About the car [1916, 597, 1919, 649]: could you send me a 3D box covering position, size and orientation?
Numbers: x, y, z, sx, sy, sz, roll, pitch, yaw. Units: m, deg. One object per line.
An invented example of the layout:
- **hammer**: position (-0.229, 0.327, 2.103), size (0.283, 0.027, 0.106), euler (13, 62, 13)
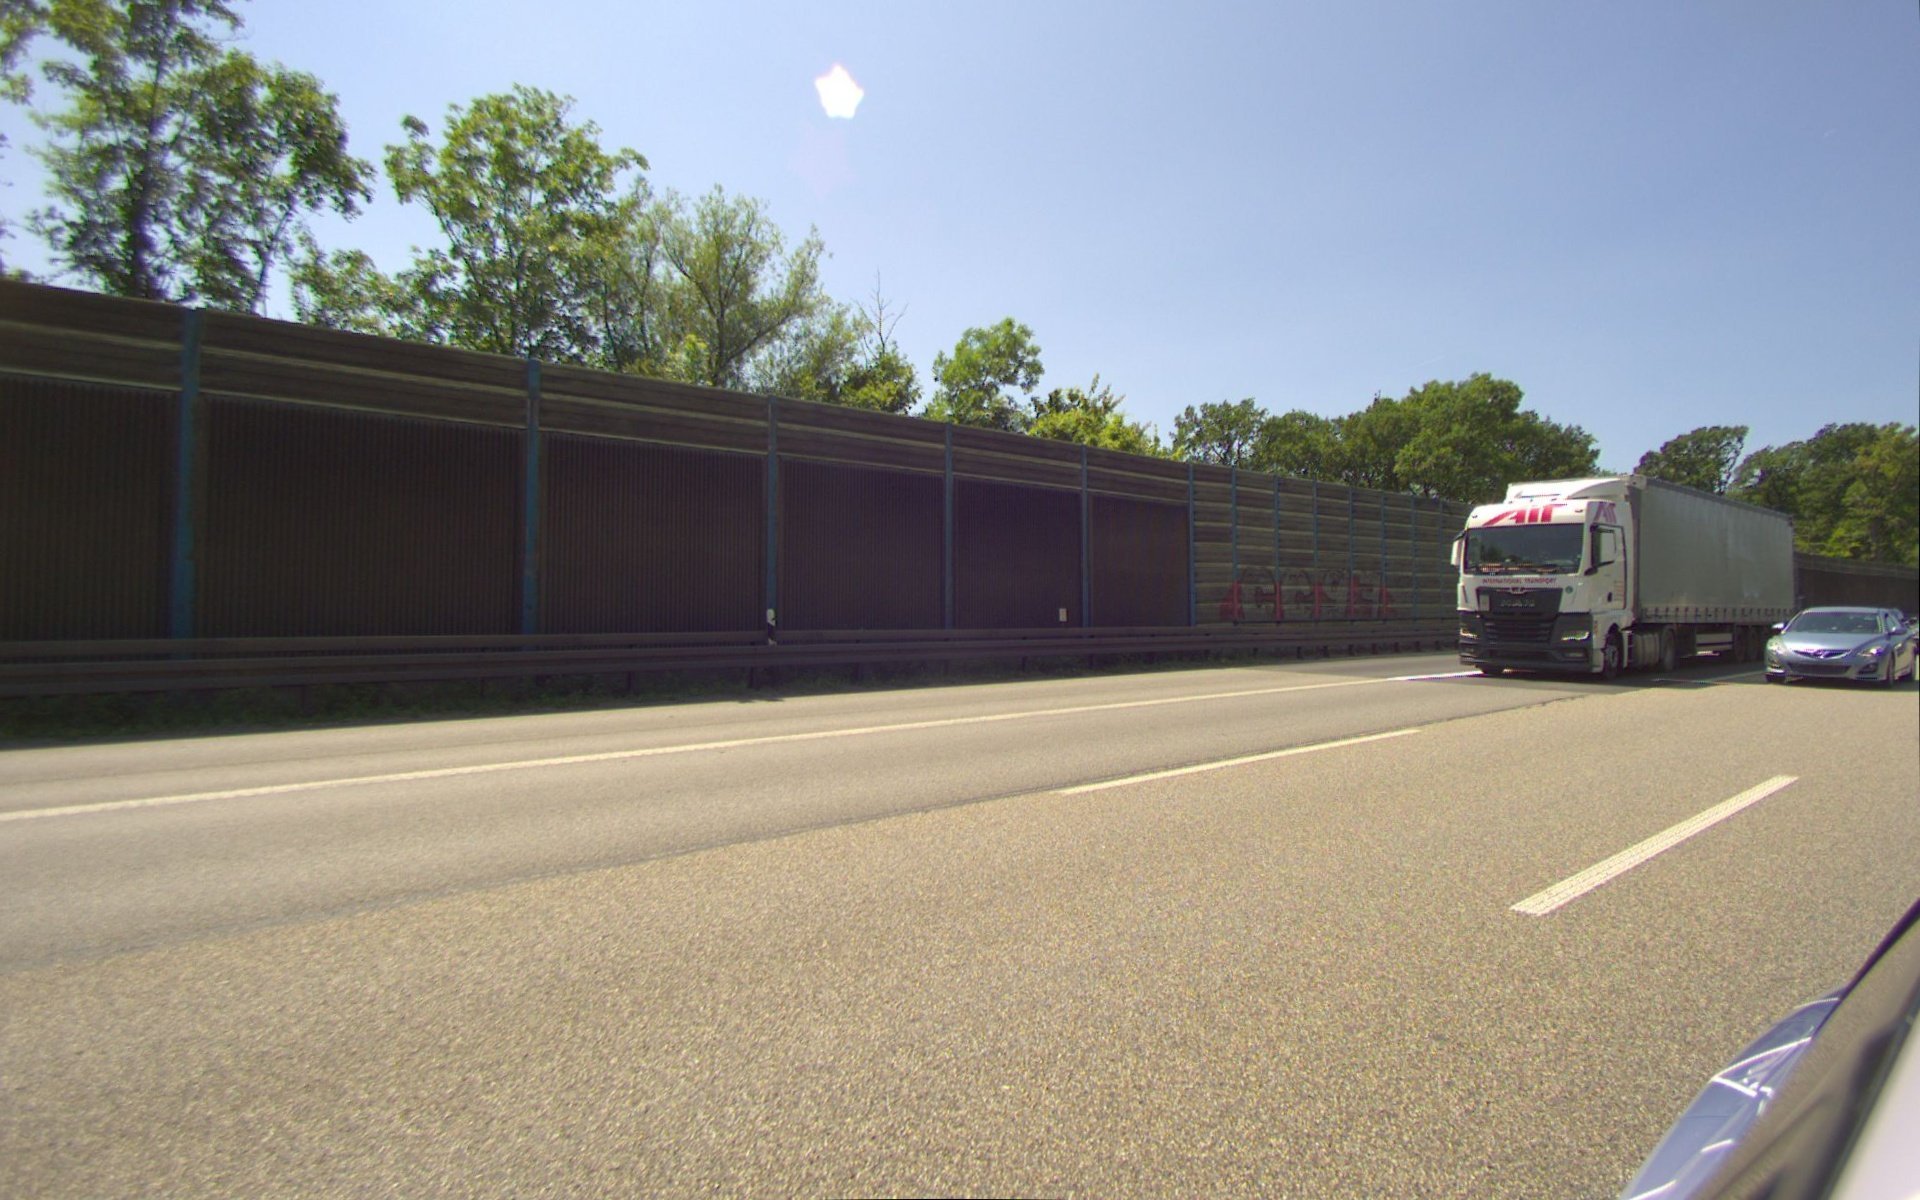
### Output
- **car**: position (31.003, 0.710, 30.985), size (3.926, 1.579, 1.908), euler (1, -1, -37)

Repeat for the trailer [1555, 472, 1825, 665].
- **trailer**: position (19.879, -0.708, 26.949), size (13.349, 4.142, 2.603), euler (0, 0, -40)

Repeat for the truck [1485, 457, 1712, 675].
- **truck**: position (13.929, -0.666, 21.945), size (5.453, 4.142, 2.604), euler (0, 0, -40)

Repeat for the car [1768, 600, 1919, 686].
- **car**: position (16.940, 0.740, 19.103), size (4.102, 1.452, 1.860), euler (1, -1, -40)
